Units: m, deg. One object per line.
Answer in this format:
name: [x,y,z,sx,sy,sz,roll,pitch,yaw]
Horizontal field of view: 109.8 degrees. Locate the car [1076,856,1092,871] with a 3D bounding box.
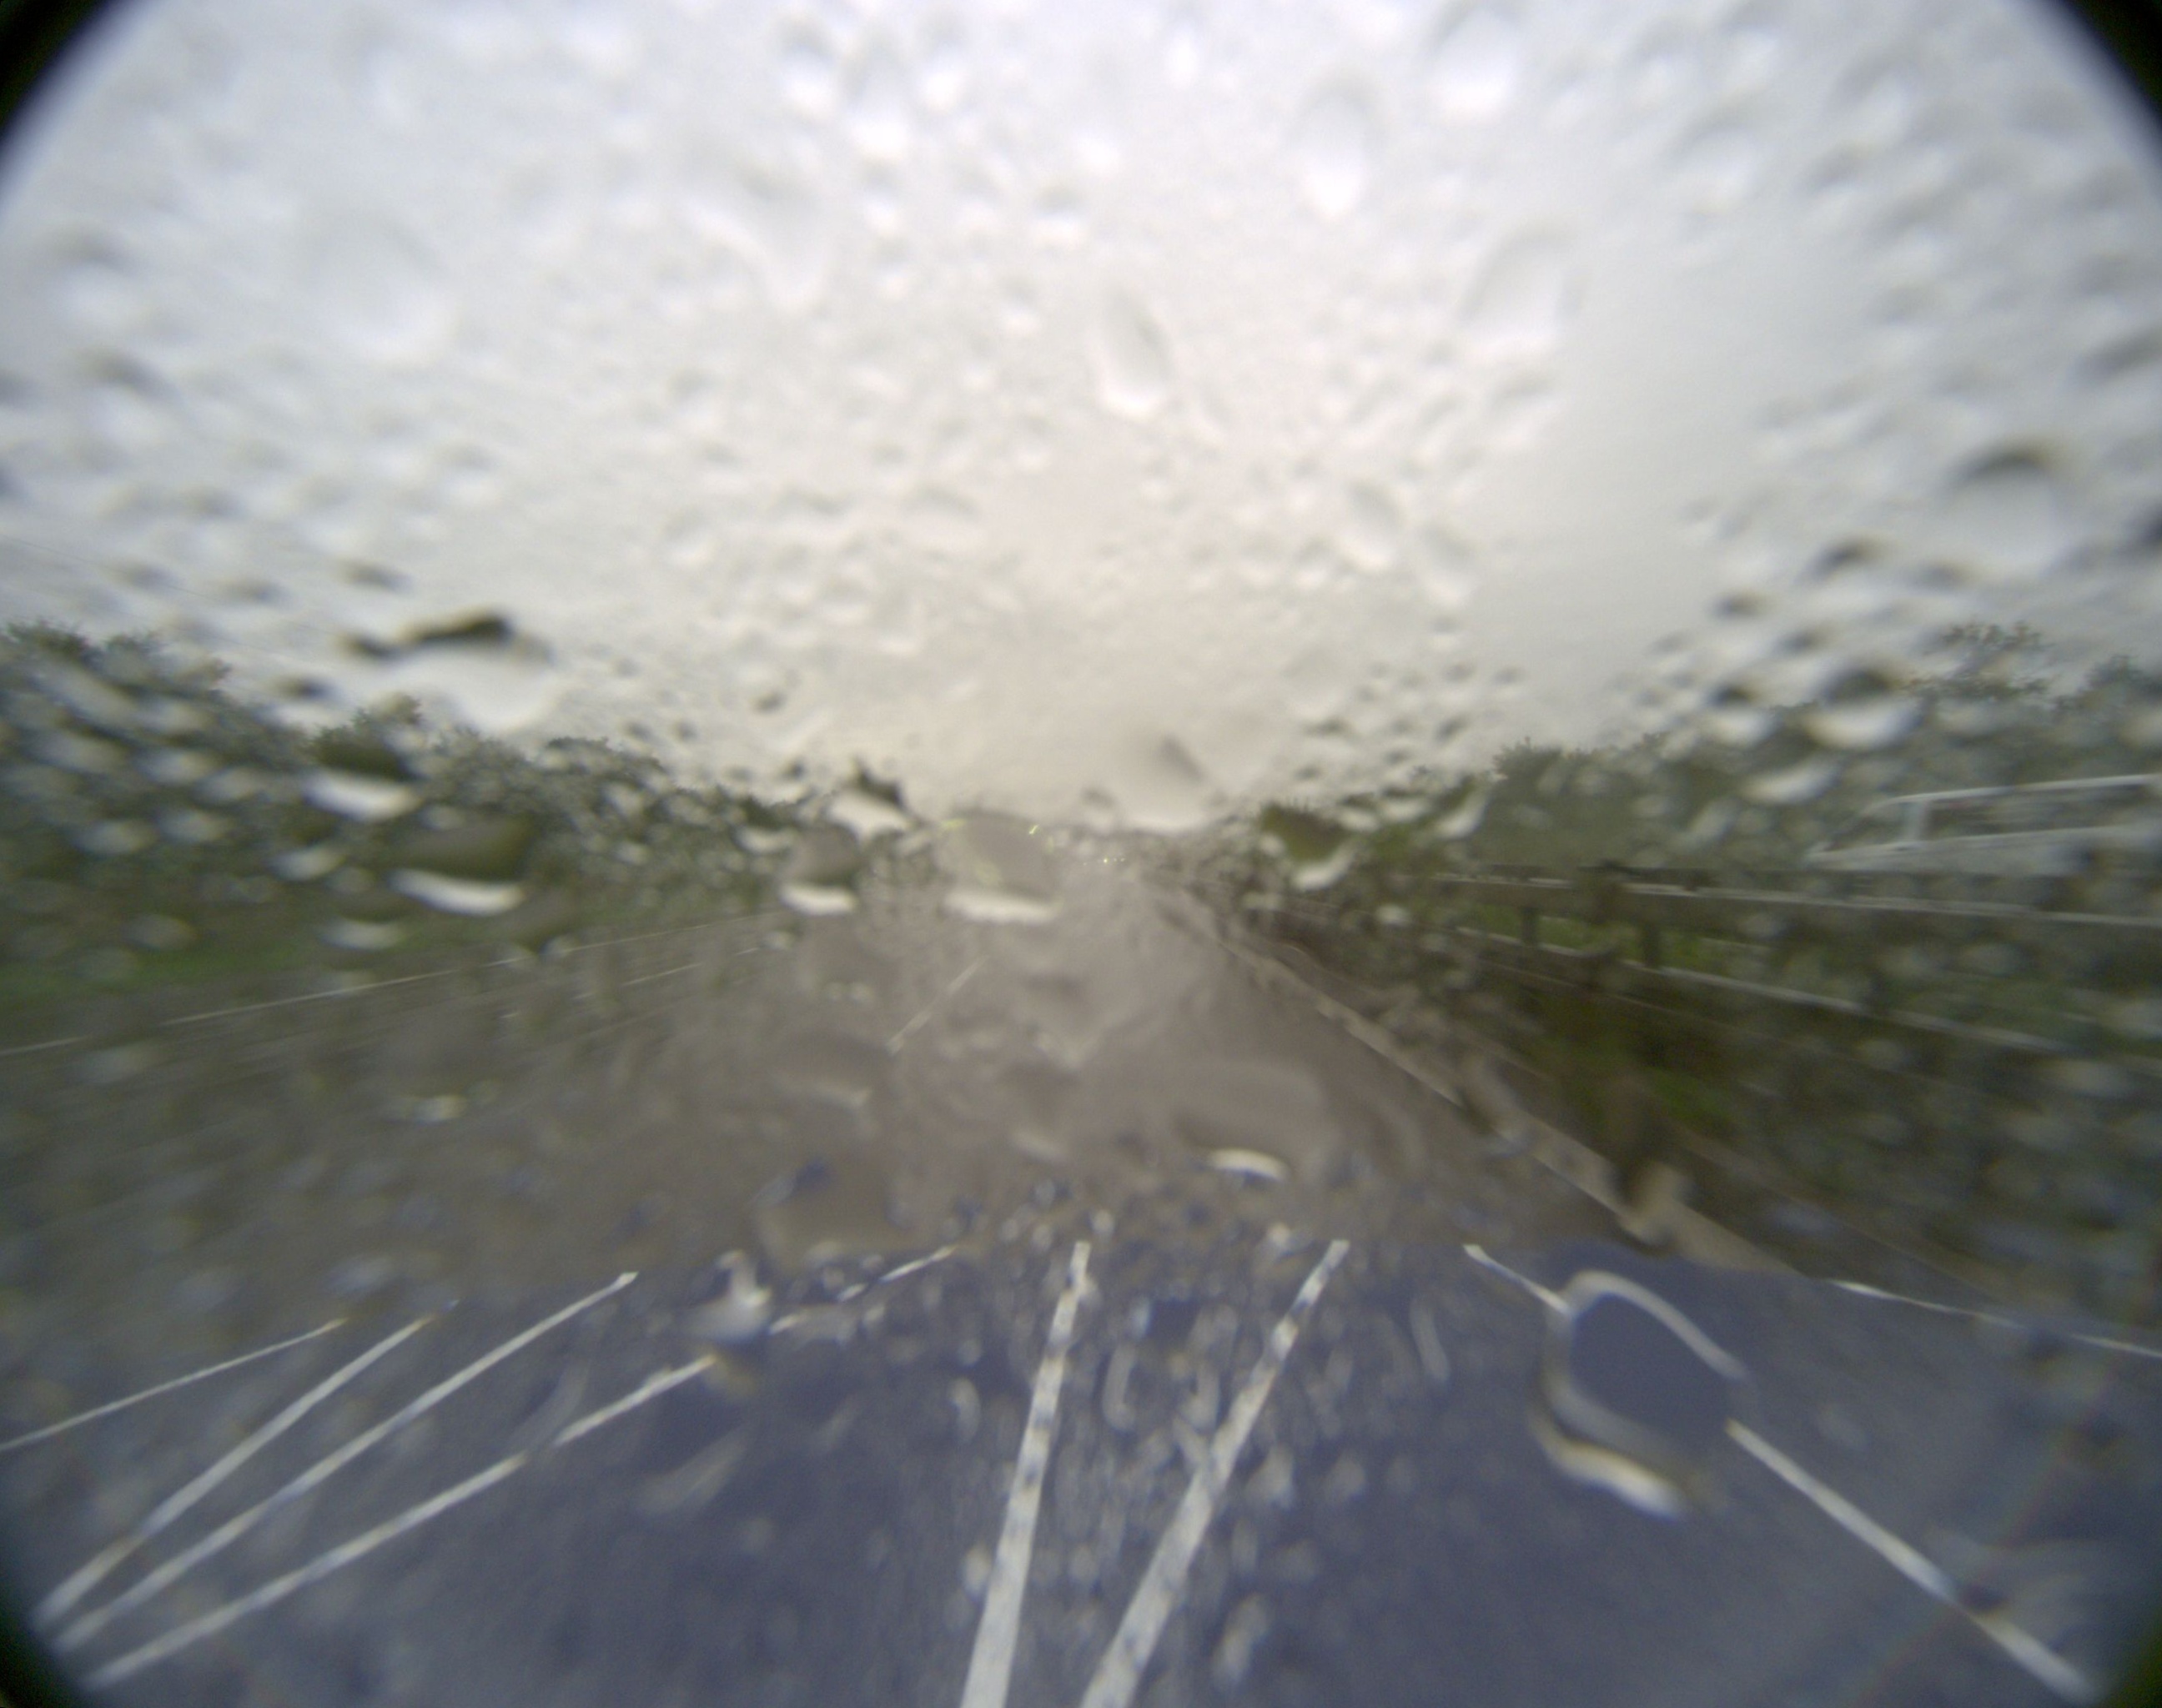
car: [0.373,1.270,104.157,1.999,2.002,3.999,-2,0,-1]

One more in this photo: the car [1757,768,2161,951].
car: [12.270,0.016,10.074,1.998,1.895,5.320,-2,0,2]

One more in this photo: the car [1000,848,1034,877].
car: [-4.801,0.613,57.639,1.998,2.002,4.001,-3,0,2]

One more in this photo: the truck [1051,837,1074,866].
truck: [-3.095,-0.476,129.328,3.136,4.641,11.404,-2,0,1]
